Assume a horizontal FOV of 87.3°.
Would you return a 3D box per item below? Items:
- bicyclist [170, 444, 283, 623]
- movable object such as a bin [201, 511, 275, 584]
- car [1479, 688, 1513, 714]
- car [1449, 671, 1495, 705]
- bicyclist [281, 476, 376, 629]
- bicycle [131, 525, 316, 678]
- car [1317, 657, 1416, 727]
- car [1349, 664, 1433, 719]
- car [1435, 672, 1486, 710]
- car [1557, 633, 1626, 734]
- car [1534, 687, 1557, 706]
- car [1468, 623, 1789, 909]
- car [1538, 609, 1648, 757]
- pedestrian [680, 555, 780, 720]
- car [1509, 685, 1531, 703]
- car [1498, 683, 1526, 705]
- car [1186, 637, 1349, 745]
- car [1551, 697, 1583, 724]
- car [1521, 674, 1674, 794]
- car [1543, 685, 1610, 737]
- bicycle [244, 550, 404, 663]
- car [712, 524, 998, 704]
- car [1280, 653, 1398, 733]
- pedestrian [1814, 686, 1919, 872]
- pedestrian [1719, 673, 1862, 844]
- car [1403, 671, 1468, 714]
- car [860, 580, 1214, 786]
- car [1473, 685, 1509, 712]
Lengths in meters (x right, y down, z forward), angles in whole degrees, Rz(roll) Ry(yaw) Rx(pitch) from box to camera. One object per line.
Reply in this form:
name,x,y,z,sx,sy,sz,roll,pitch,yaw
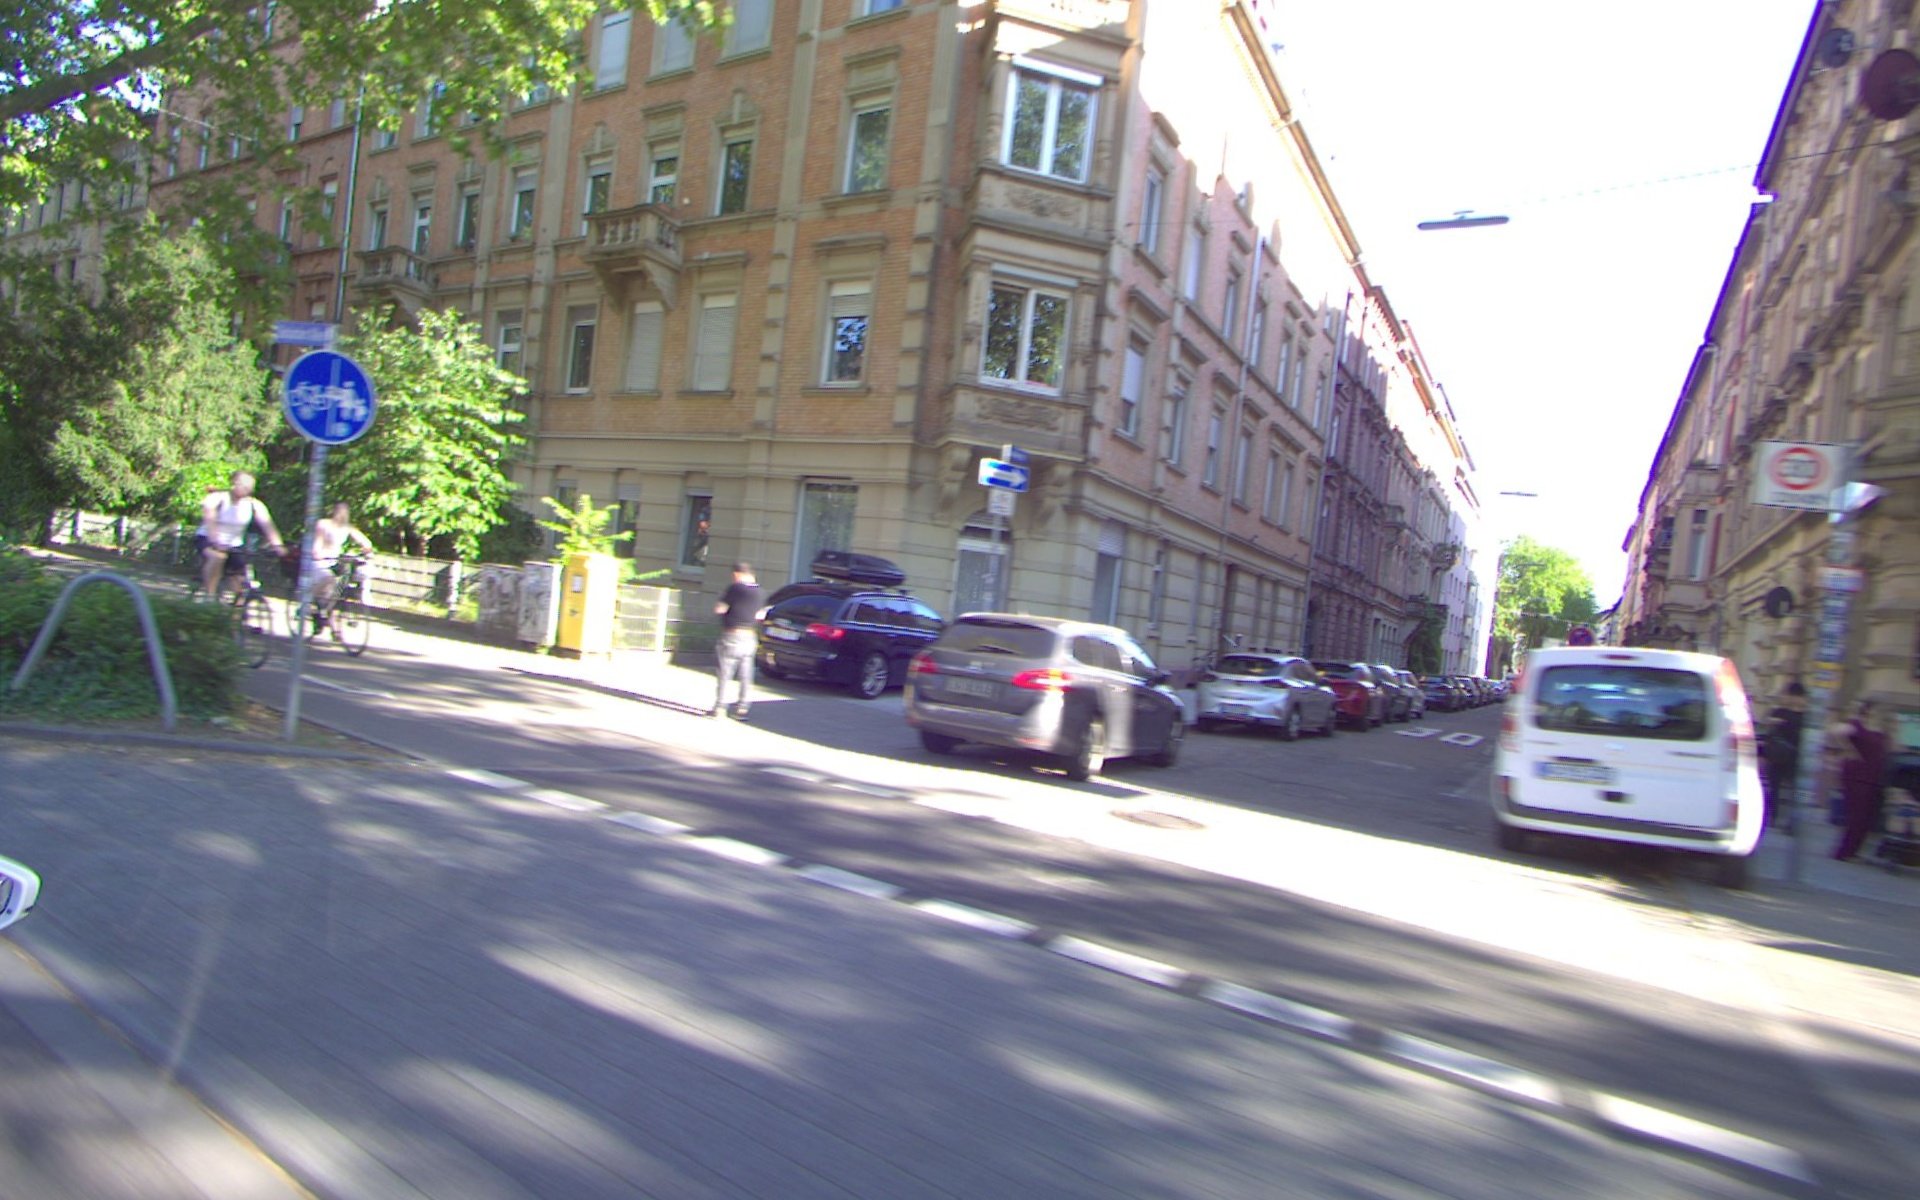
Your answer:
bicyclist,-7.202,-0.646,9.882,0.633,1.646,0.543,9,2,30
movable object such as a bin,-15.957,-1.153,22.239,1.065,1.484,0.907,6,2,31
car,37.926,7.153,71.191,1.725,1.568,3.796,6,-2,32
car,27.703,4.750,54.373,1.725,1.568,3.796,6,-2,32
bicyclist,-7.220,-0.533,11.508,0.633,1.646,0.544,7,1,25
bicycle,-7.269,-0.006,9.886,2.188,1.193,0.561,8,1,31
car,10.789,2.413,26.529,1.724,1.499,4.052,6,-2,30
car,13.401,2.844,31.181,1.725,1.379,3.796,6,-2,32
car,24.728,4.506,49.652,1.725,1.568,3.796,6,-2,32
car,26.671,3.534,42.635,1.987,3.797,5.515,6,-1,31
car,58.890,9.699,101.100,1.725,1.568,3.796,6,-2,32
car,6.176,1.381,9.615,1.876,1.868,4.555,6,-2,31
car,15.991,2.096,25.558,1.876,3.239,4.882,6,-1,31
pedestrian,-2.335,0.377,10.217,0.597,1.569,0.540,9,2,31
car,58.081,9.772,104.300,1.725,1.568,3.796,6,-2,32
car,46.715,7.982,85.147,1.725,1.568,3.796,6,-2,32
car,5.681,1.647,18.280,1.725,1.562,3.813,6,-2,33
car,42.128,7.656,69.760,1.725,1.568,3.796,6,-2,32
car,10.920,2.231,17.403,1.876,1.580,4.176,6,-2,31
car,22.765,4.072,37.224,1.876,1.580,4.176,6,-2,31
bicycle,-7.293,0.058,11.518,1.898,1.051,0.561,7,2,25
car,-1.355,0.262,14.672,1.966,2.039,3.993,10,2,30
car,8.507,2.053,22.387,1.724,1.436,3.816,6,-2,30
pedestrian,8.850,1.687,9.497,0.860,1.608,0.888,7,-2,25
pedestrian,9.377,1.763,11.410,0.860,1.715,1.072,7,-2,25
car,18.412,3.578,38.894,1.725,1.379,3.796,6,-2,32
car,1.083,0.861,10.721,1.875,1.557,4.556,6,-2,30
car,35.771,6.652,67.741,1.725,1.568,3.796,6,-2,32
